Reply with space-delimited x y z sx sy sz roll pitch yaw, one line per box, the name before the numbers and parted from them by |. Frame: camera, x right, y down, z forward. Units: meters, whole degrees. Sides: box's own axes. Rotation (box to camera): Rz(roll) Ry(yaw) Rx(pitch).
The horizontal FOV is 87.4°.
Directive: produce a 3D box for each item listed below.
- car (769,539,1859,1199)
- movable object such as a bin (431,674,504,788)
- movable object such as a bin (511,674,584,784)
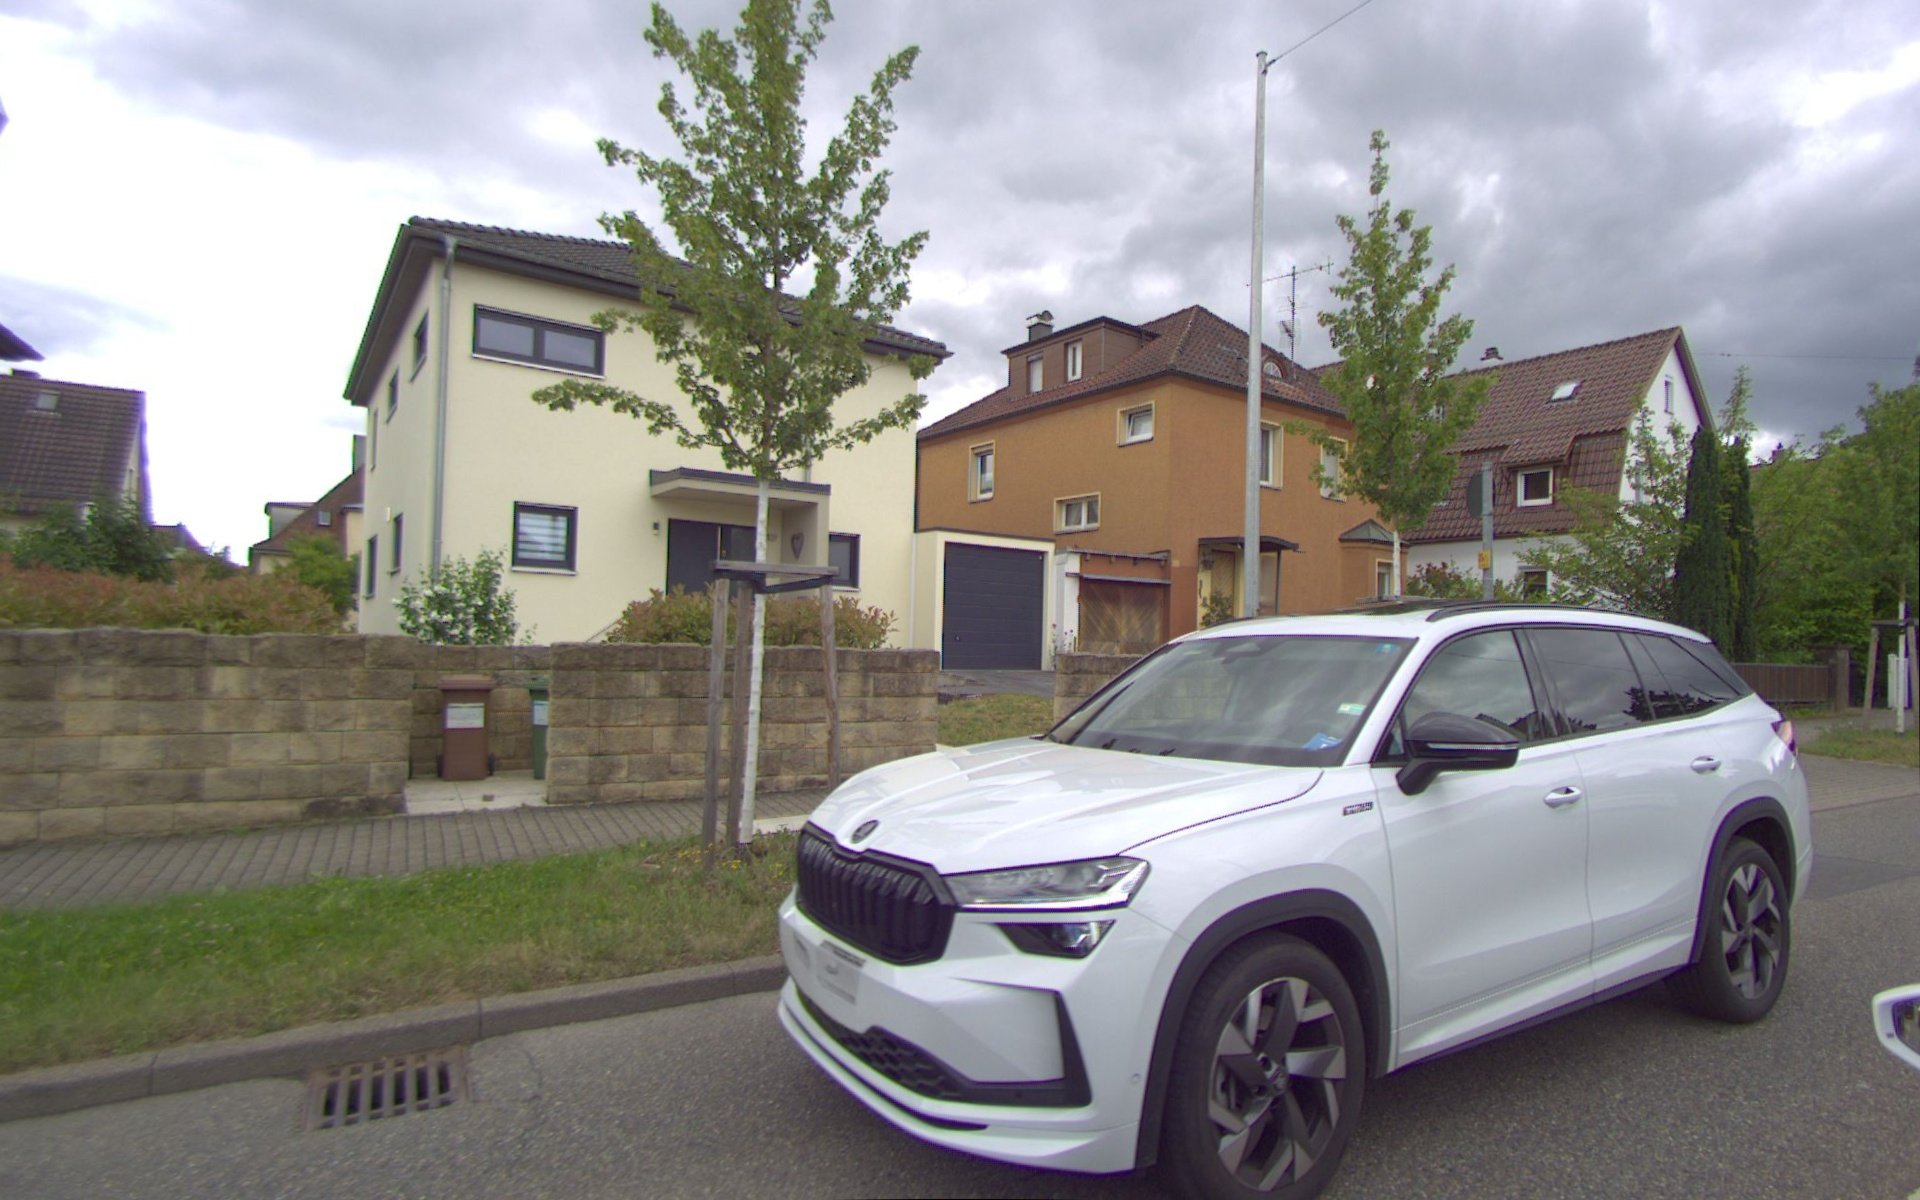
car | 1.634 0.828 4.111 4.415 1.715 1.805 2 -4 -31
movable object such as a bin | -4.440 1.154 9.042 0.519 0.934 0.610 2 0 -31
movable object such as a bin | -3.839 1.176 9.328 0.519 0.934 0.610 2 0 -31
